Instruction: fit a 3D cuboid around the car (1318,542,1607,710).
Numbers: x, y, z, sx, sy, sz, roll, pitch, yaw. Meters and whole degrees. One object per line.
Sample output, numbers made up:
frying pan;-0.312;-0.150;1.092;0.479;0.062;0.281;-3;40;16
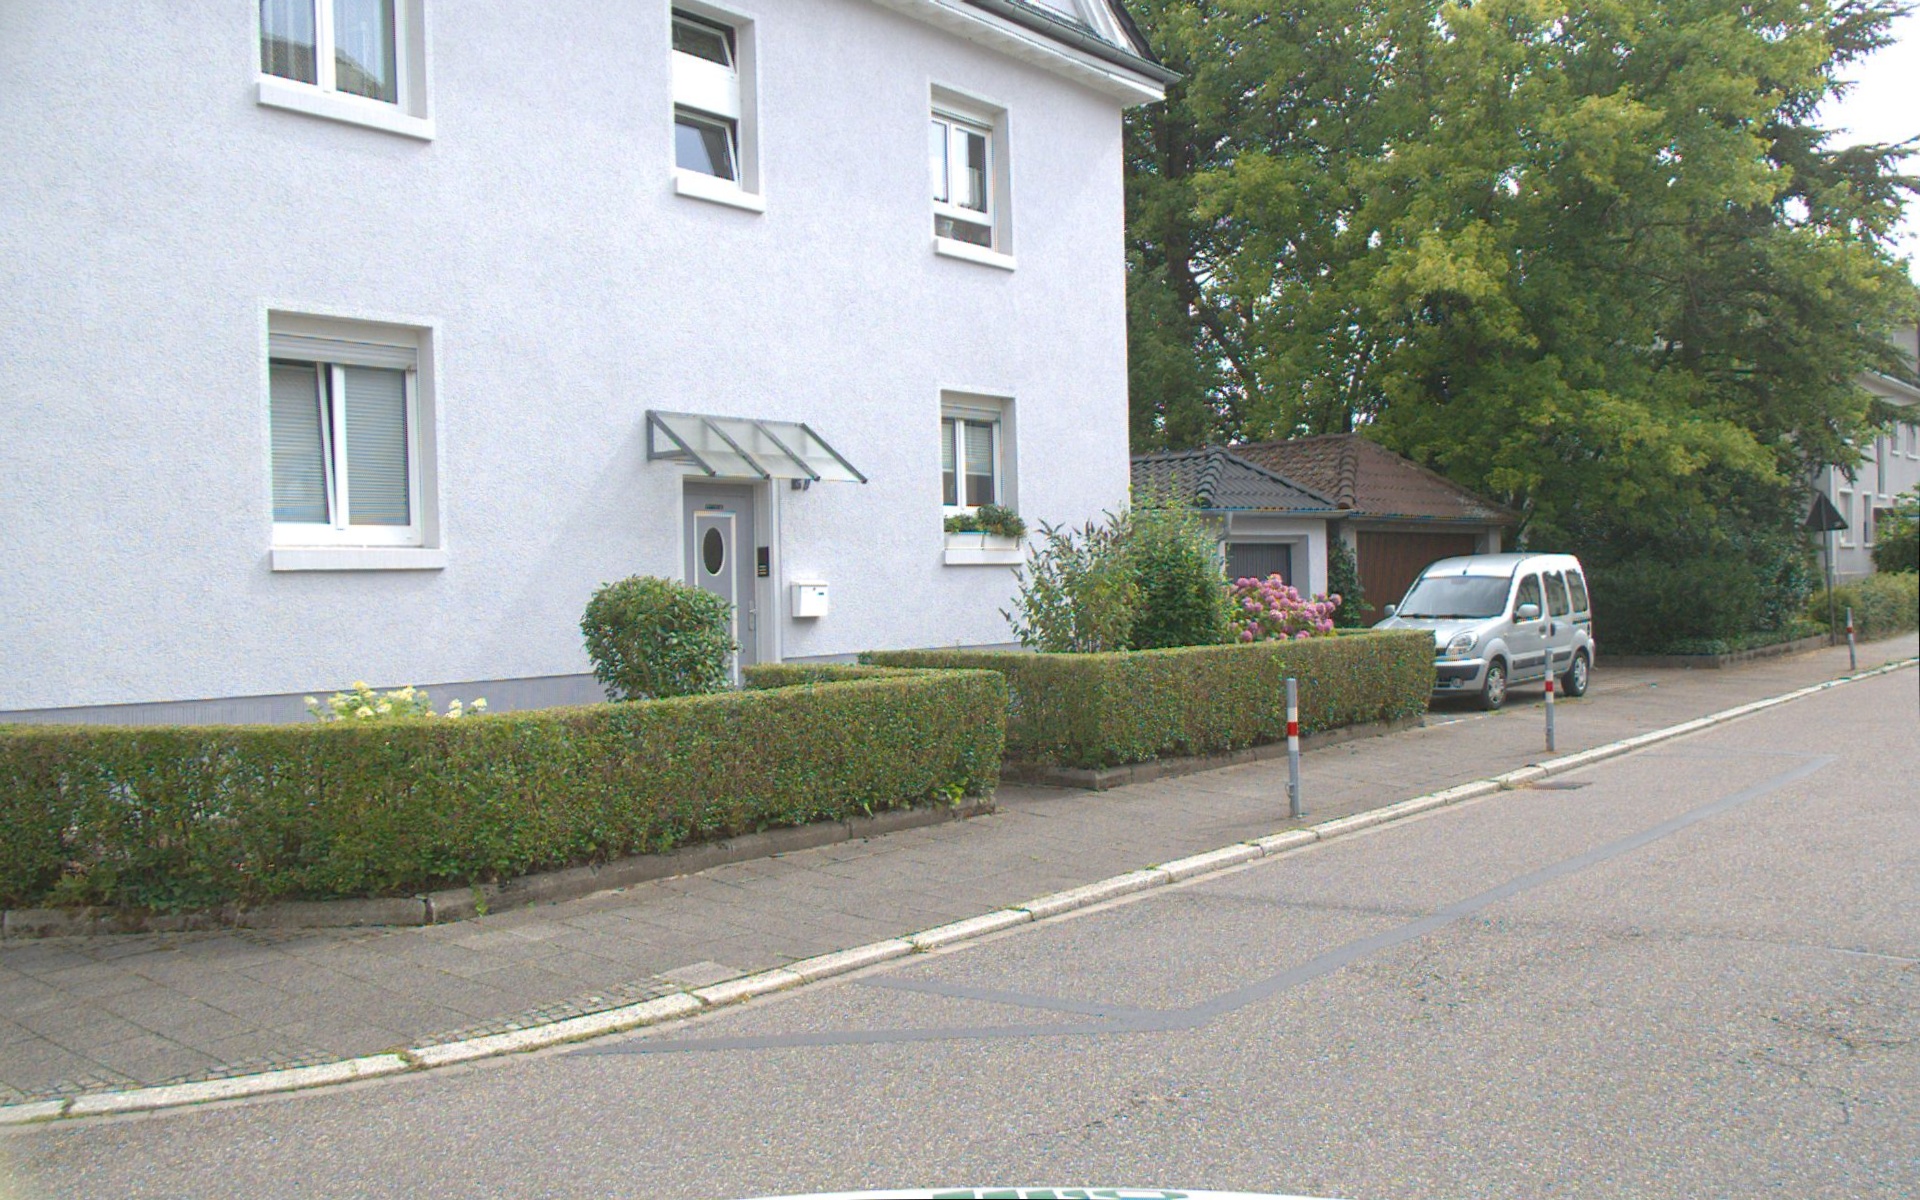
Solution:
car;6.344;0.257;20.639;1.964;1.870;3.977;-2;0;41
